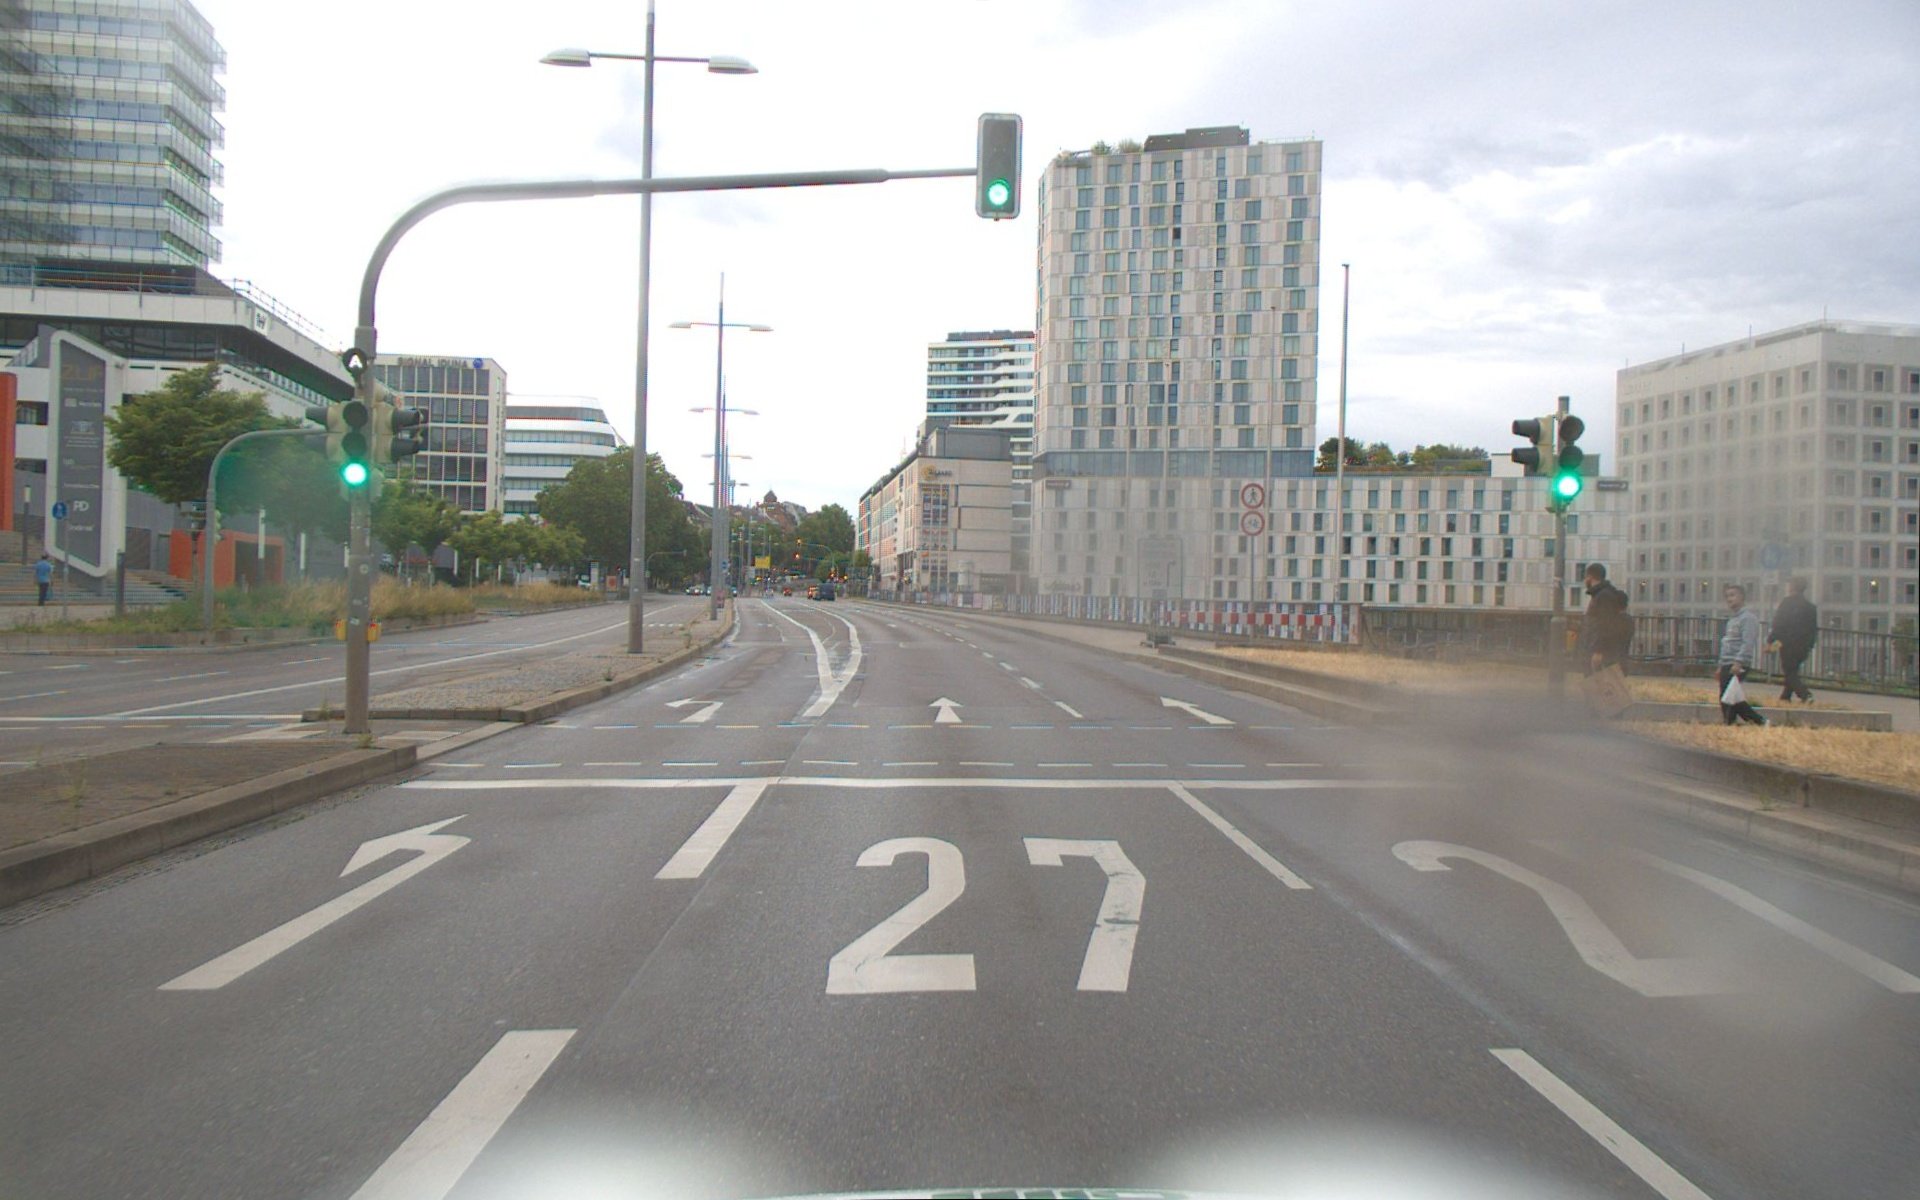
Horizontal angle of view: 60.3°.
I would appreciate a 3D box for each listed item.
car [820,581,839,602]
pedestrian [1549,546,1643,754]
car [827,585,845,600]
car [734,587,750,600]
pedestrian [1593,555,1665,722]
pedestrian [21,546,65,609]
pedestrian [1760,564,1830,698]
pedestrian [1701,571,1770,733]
[{"bbox_3d":[-15.179,-0.939,192.425,1.953,2.384,3.999,1,0,-2],"label":"car"},{"bbox_3d":[5.913,0.440,15.372,0.542,1.873,0.777,1,2,45],"label":"pedestrian"},{"bbox_3d":[-16.598,-1.029,221.366,1.952,1.847,4.002,0,2,2],"label":"car"},{"bbox_3d":[-32.733,-0.931,248.087,1.953,1.813,3.999,0,2,-2],"label":"car"},{"bbox_3d":[6.622,0.363,16.370,0.540,1.605,0.669,1,2,33],"label":"pedestrian"},{"bbox_3d":[-29.988,-0.733,54.117,1.009,2.048,0.715,0,1,-2],"label":"pedestrian"},{"bbox_3d":[10.250,0.363,20.304,0.657,1.605,0.666,1,2,36],"label":"pedestrian"},{"bbox_3d":[7.930,0.507,16.910,0.540,1.605,0.669,1,2,33],"label":"pedestrian"}]
